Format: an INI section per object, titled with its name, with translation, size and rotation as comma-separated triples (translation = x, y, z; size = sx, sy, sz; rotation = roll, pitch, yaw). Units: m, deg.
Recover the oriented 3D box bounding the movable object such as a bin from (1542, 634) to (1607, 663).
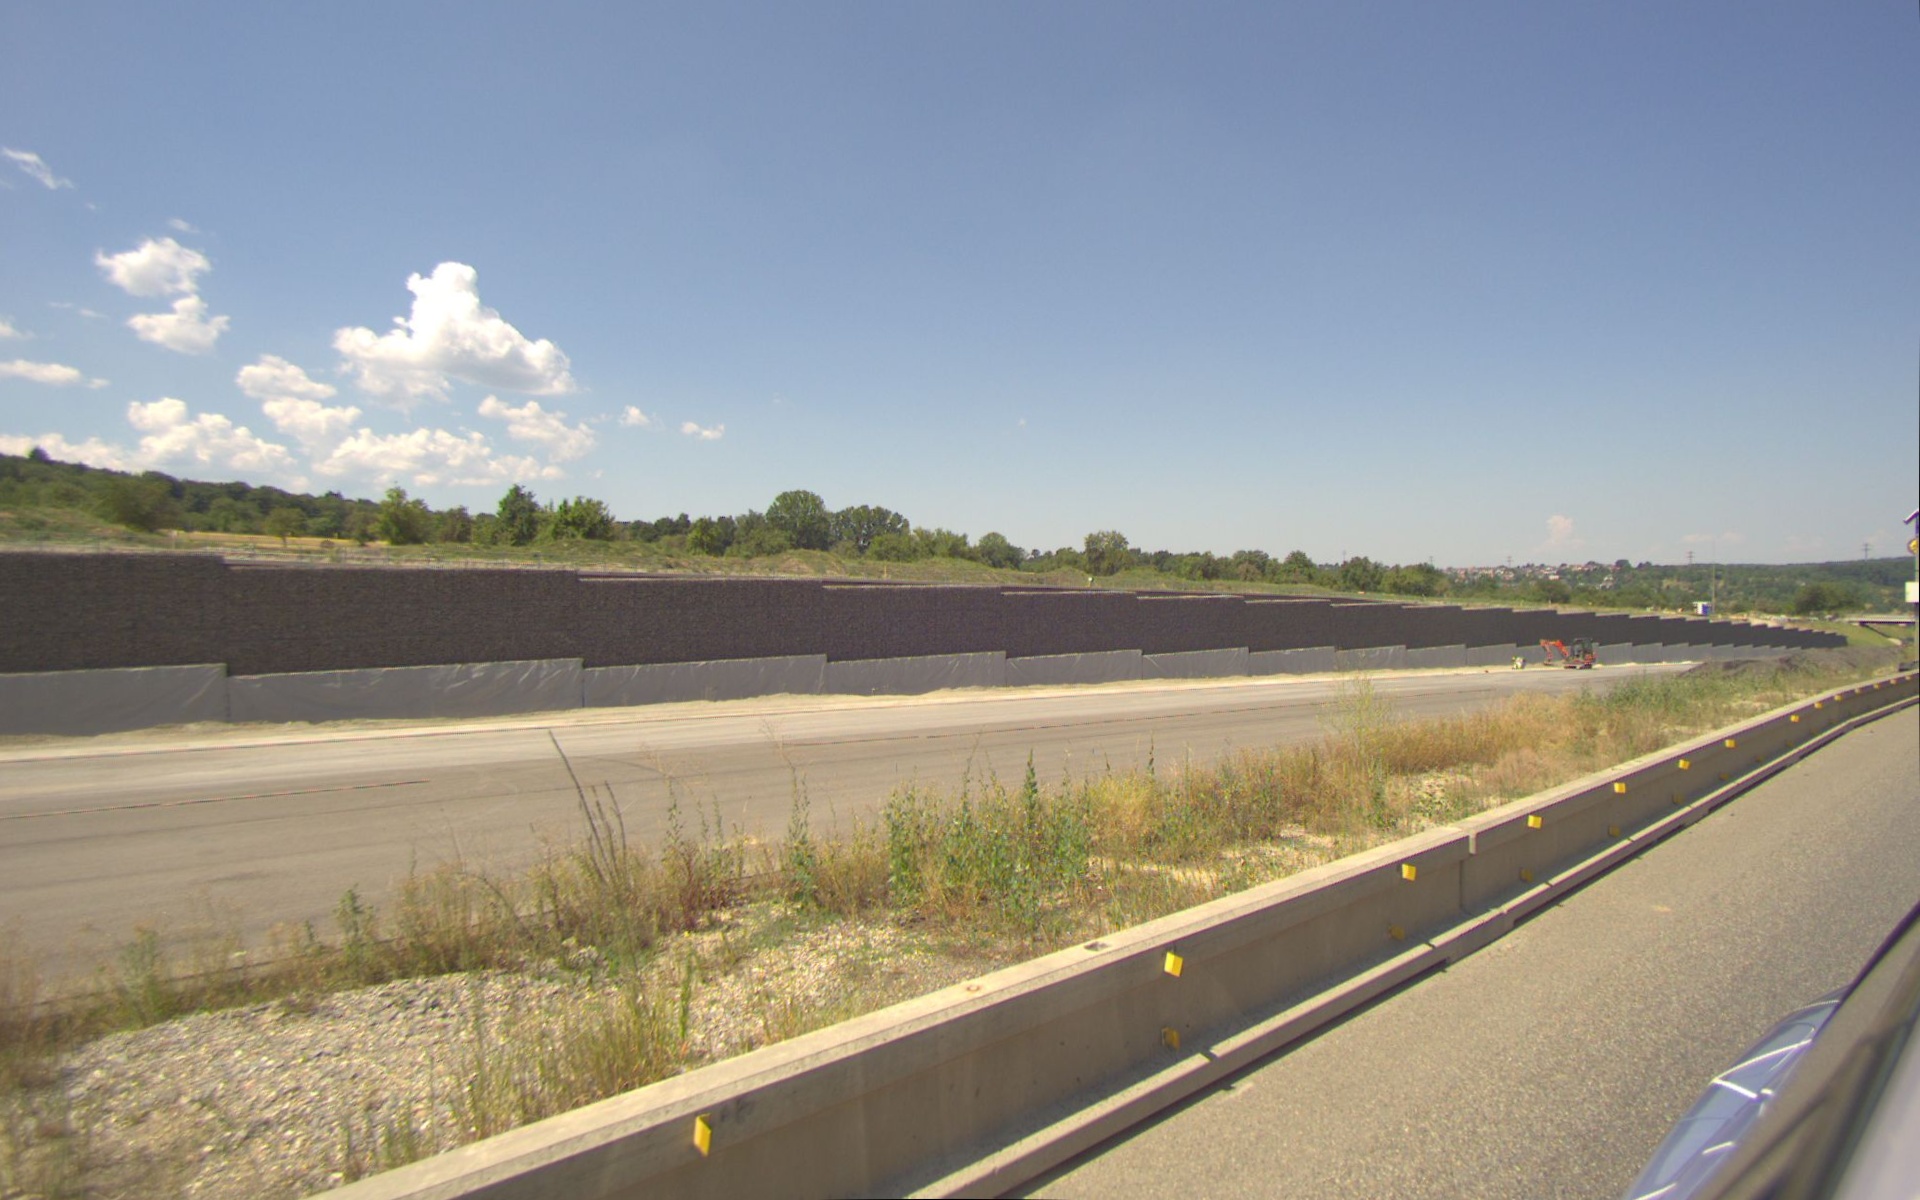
[movable object such as a bin]
translation = 48.198, 3.780, 79.438
size = 4.086, 2.175, 1.749
rotation = 0, 0, 23
